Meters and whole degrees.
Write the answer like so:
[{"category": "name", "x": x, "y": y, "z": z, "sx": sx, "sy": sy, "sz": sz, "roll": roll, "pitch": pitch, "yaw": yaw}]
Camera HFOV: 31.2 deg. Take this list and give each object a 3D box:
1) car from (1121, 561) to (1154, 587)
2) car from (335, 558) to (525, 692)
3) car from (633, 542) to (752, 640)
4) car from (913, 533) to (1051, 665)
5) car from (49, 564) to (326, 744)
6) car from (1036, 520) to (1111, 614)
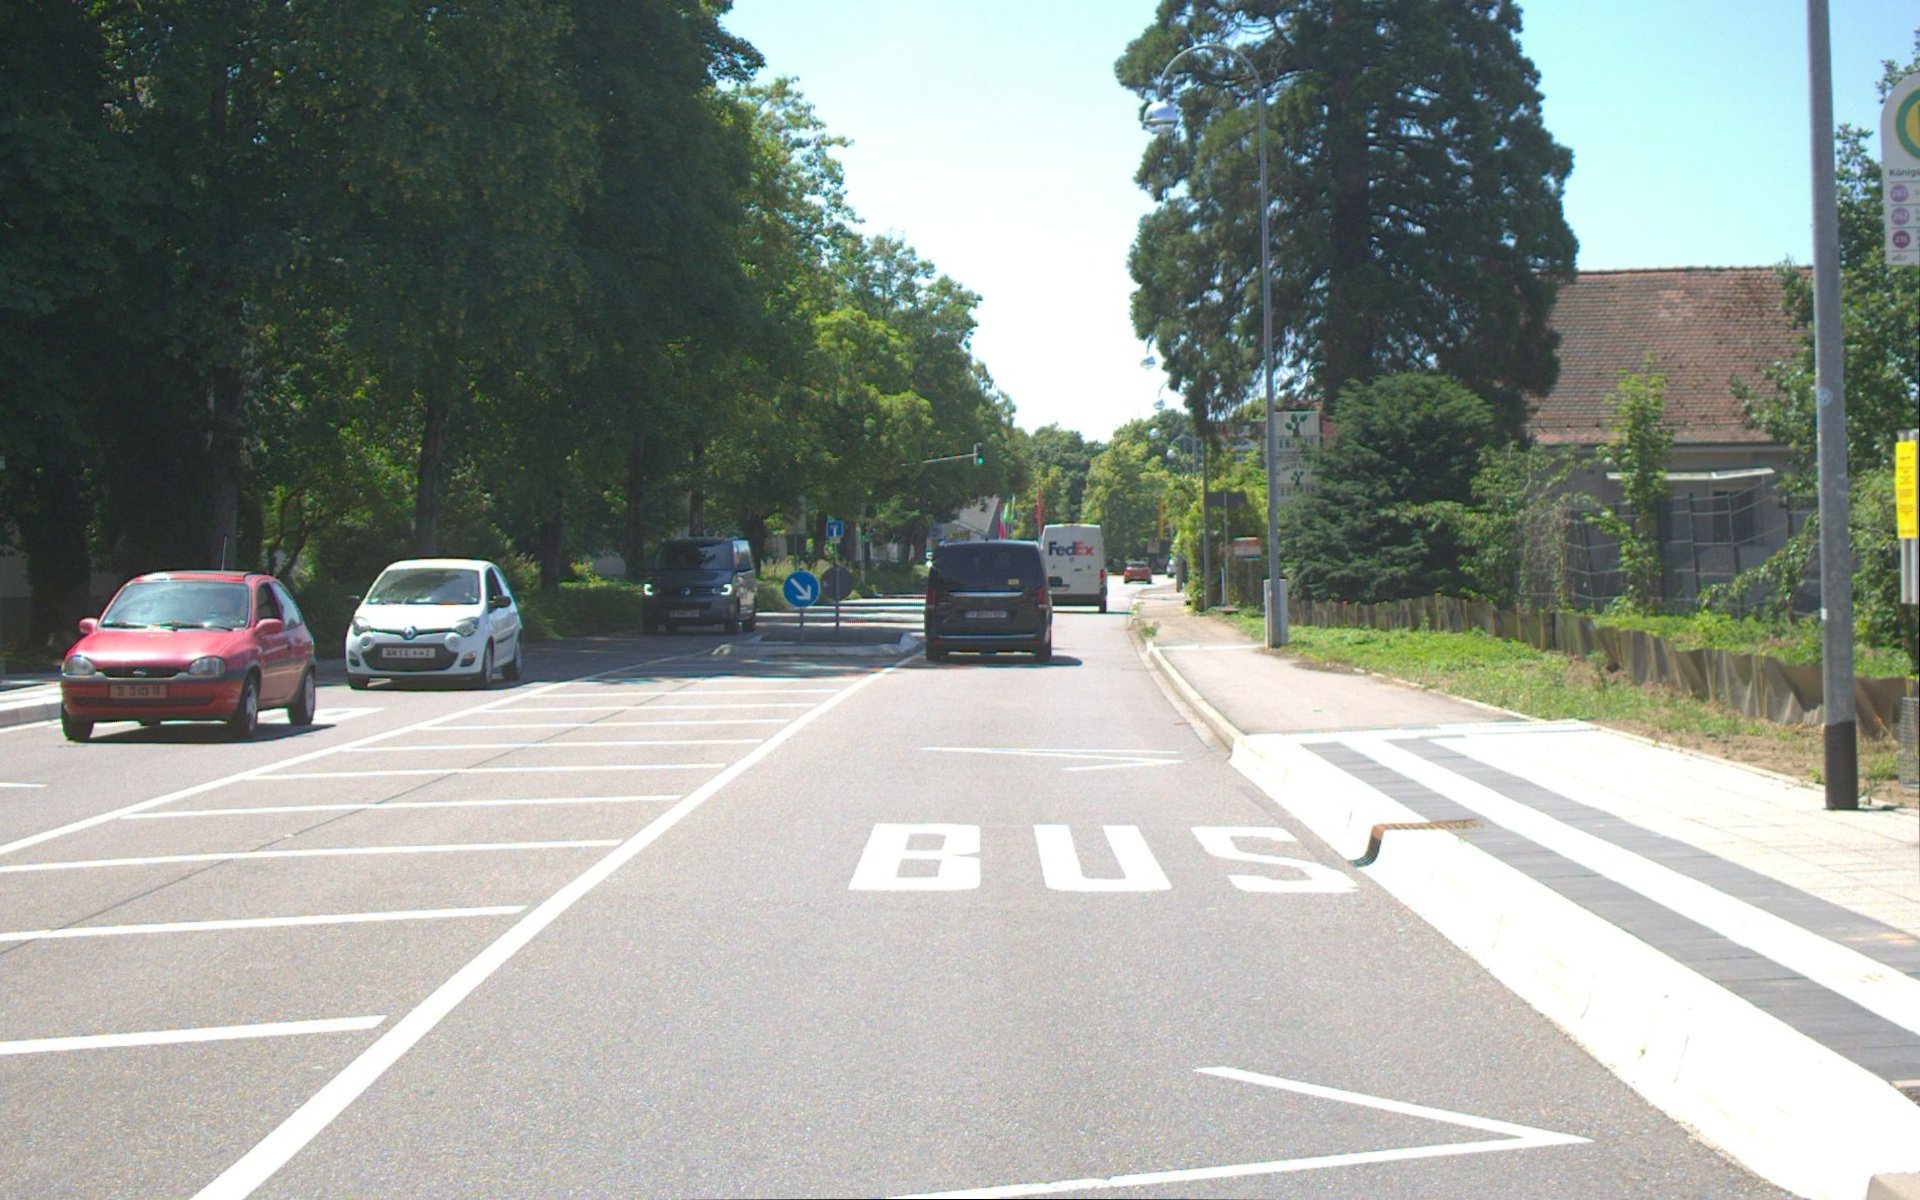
[{"category": "car", "x": 11.630, "y": -1.729, "z": 225.782, "sx": 1.857, "sy": 1.637, "sz": 4.000, "roll": 1, "pitch": 1, "yaw": -1}, {"category": "car", "x": -6.218, "y": 0.258, "z": 40.681, "sx": 1.690, "sy": 1.455, "sz": 3.640, "roll": 1, "pitch": 1, "yaw": 0}, {"category": "car", "x": -5.411, "y": -0.218, "z": 70.041, "sx": 1.993, "sy": 1.903, "sz": 4.991, "roll": 1, "pitch": 1, "yaw": 0}, {"category": "car", "x": 0.330, "y": -0.053, "z": 52.341, "sx": 1.993, "sy": 1.887, "sz": 4.000, "roll": 1, "pitch": 1, "yaw": 0}, {"category": "car", "x": -6.623, "y": 0.430, "z": 29.809, "sx": 1.550, "sy": 1.445, "sz": 3.691, "roll": 1, "pitch": 0, "yaw": 0}, {"category": "car", "x": 3.345, "y": -1.011, "z": 101.755, "sx": 2.120, "sy": 2.668, "sz": 5.662, "roll": 1, "pitch": 1, "yaw": 2}]
